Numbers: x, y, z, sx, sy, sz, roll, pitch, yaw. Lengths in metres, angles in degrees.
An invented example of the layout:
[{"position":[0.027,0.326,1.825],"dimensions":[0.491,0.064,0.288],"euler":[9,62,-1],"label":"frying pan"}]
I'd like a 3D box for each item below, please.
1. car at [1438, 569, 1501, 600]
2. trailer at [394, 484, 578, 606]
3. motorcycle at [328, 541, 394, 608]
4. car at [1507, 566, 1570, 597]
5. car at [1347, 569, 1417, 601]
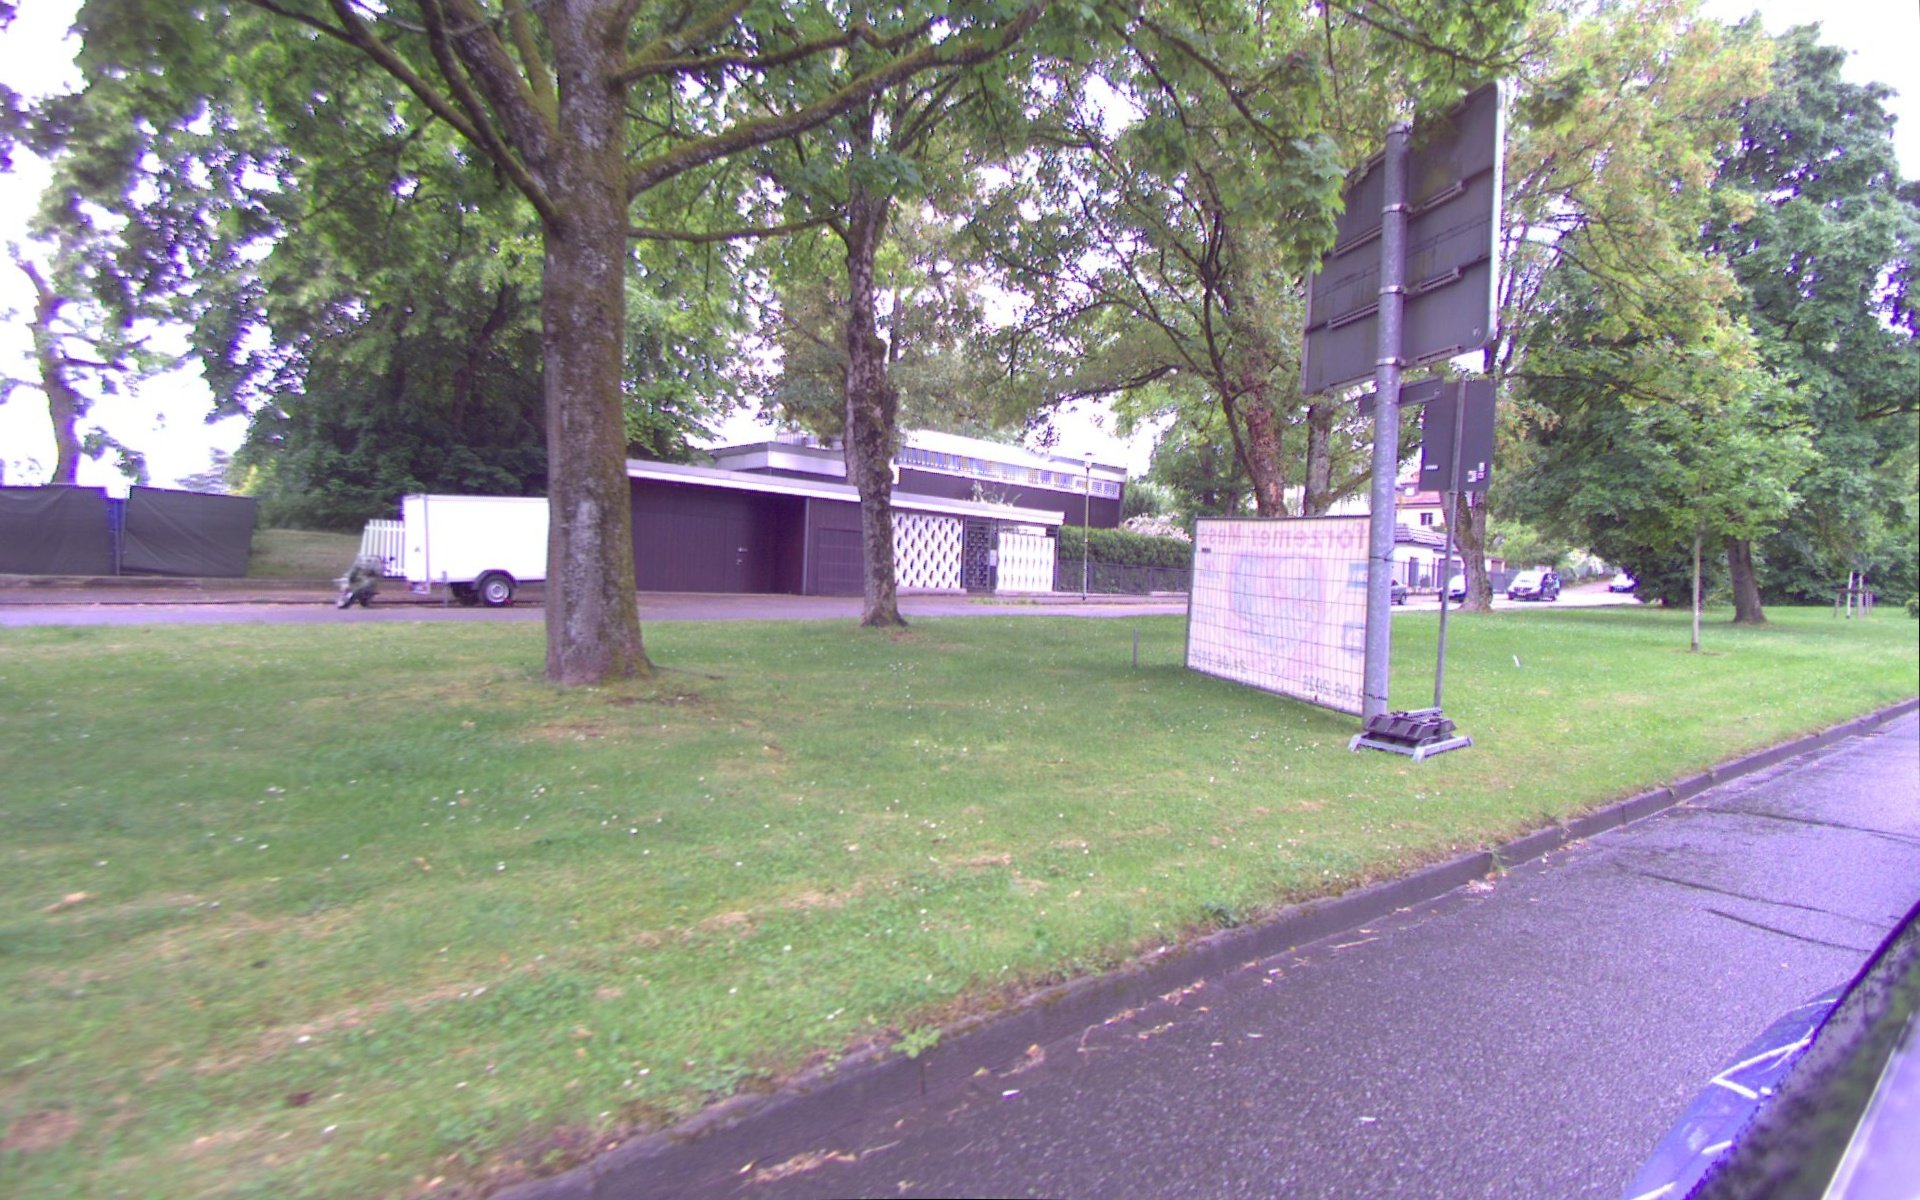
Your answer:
[{"position":[28.582,-0.907,56.692],"dimensions":[3.968,1.644,1.904],"euler":[-2,4,-44],"label":"car"},{"position":[-9.159,-1.038,19.641],"dimensions":[1.437,2.180,2.903],"euler":[4,3,44],"label":"trailer"},{"position":[-10.639,-0.463,18.030],"dimensions":[0.645,1.106,1.896],"euler":[2,1,-20],"label":"motorcycle"},{"position":[37.357,-1.228,65.270],"dimensions":[4.986,1.901,2.162],"euler":[-2,4,-44],"label":"car"},{"position":[20.151,-0.757,48.236],"dimensions":[3.648,1.392,1.684],"euler":[-1,5,-43],"label":"car"}]
